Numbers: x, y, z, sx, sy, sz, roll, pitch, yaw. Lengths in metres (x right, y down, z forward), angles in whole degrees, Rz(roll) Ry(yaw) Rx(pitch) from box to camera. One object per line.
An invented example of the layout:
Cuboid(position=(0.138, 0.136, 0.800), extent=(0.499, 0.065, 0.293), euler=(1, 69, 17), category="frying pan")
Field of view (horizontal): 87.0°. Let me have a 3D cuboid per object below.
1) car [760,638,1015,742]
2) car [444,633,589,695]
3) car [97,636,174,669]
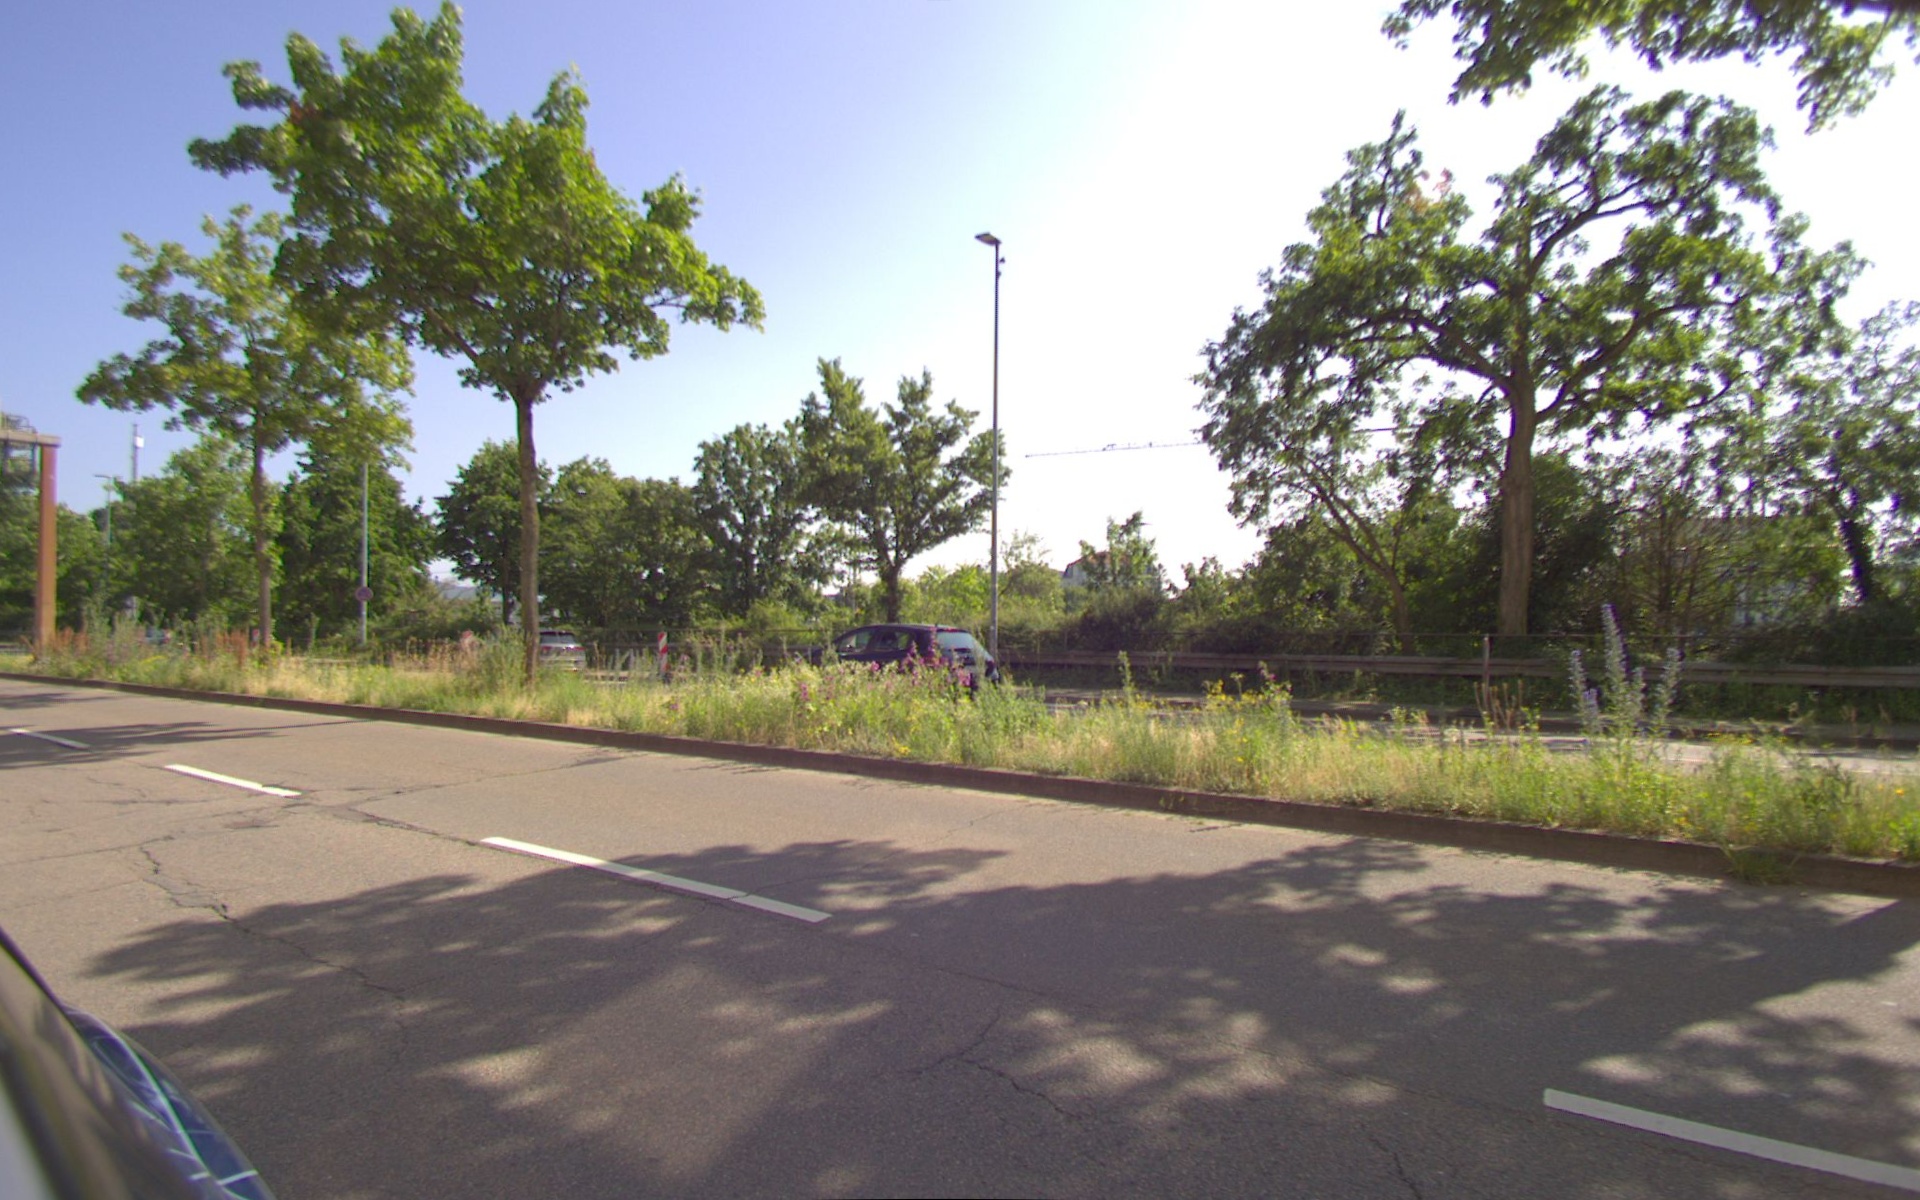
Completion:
Cuboid(position=(-1.252, 1.376, 16.607), extent=(4.079, 1.485, 1.746), euler=(-2, -3, 38), category="car")
Cuboid(position=(-11.964, 1.662, 27.241), extent=(3.991, 1.542, 1.782), euler=(-1, -2, 35), category="car")
Cuboid(position=(-37.348, 2.340, 45.811), extent=(3.960, 1.427, 1.631), euler=(-1, -3, 35), category="car")
